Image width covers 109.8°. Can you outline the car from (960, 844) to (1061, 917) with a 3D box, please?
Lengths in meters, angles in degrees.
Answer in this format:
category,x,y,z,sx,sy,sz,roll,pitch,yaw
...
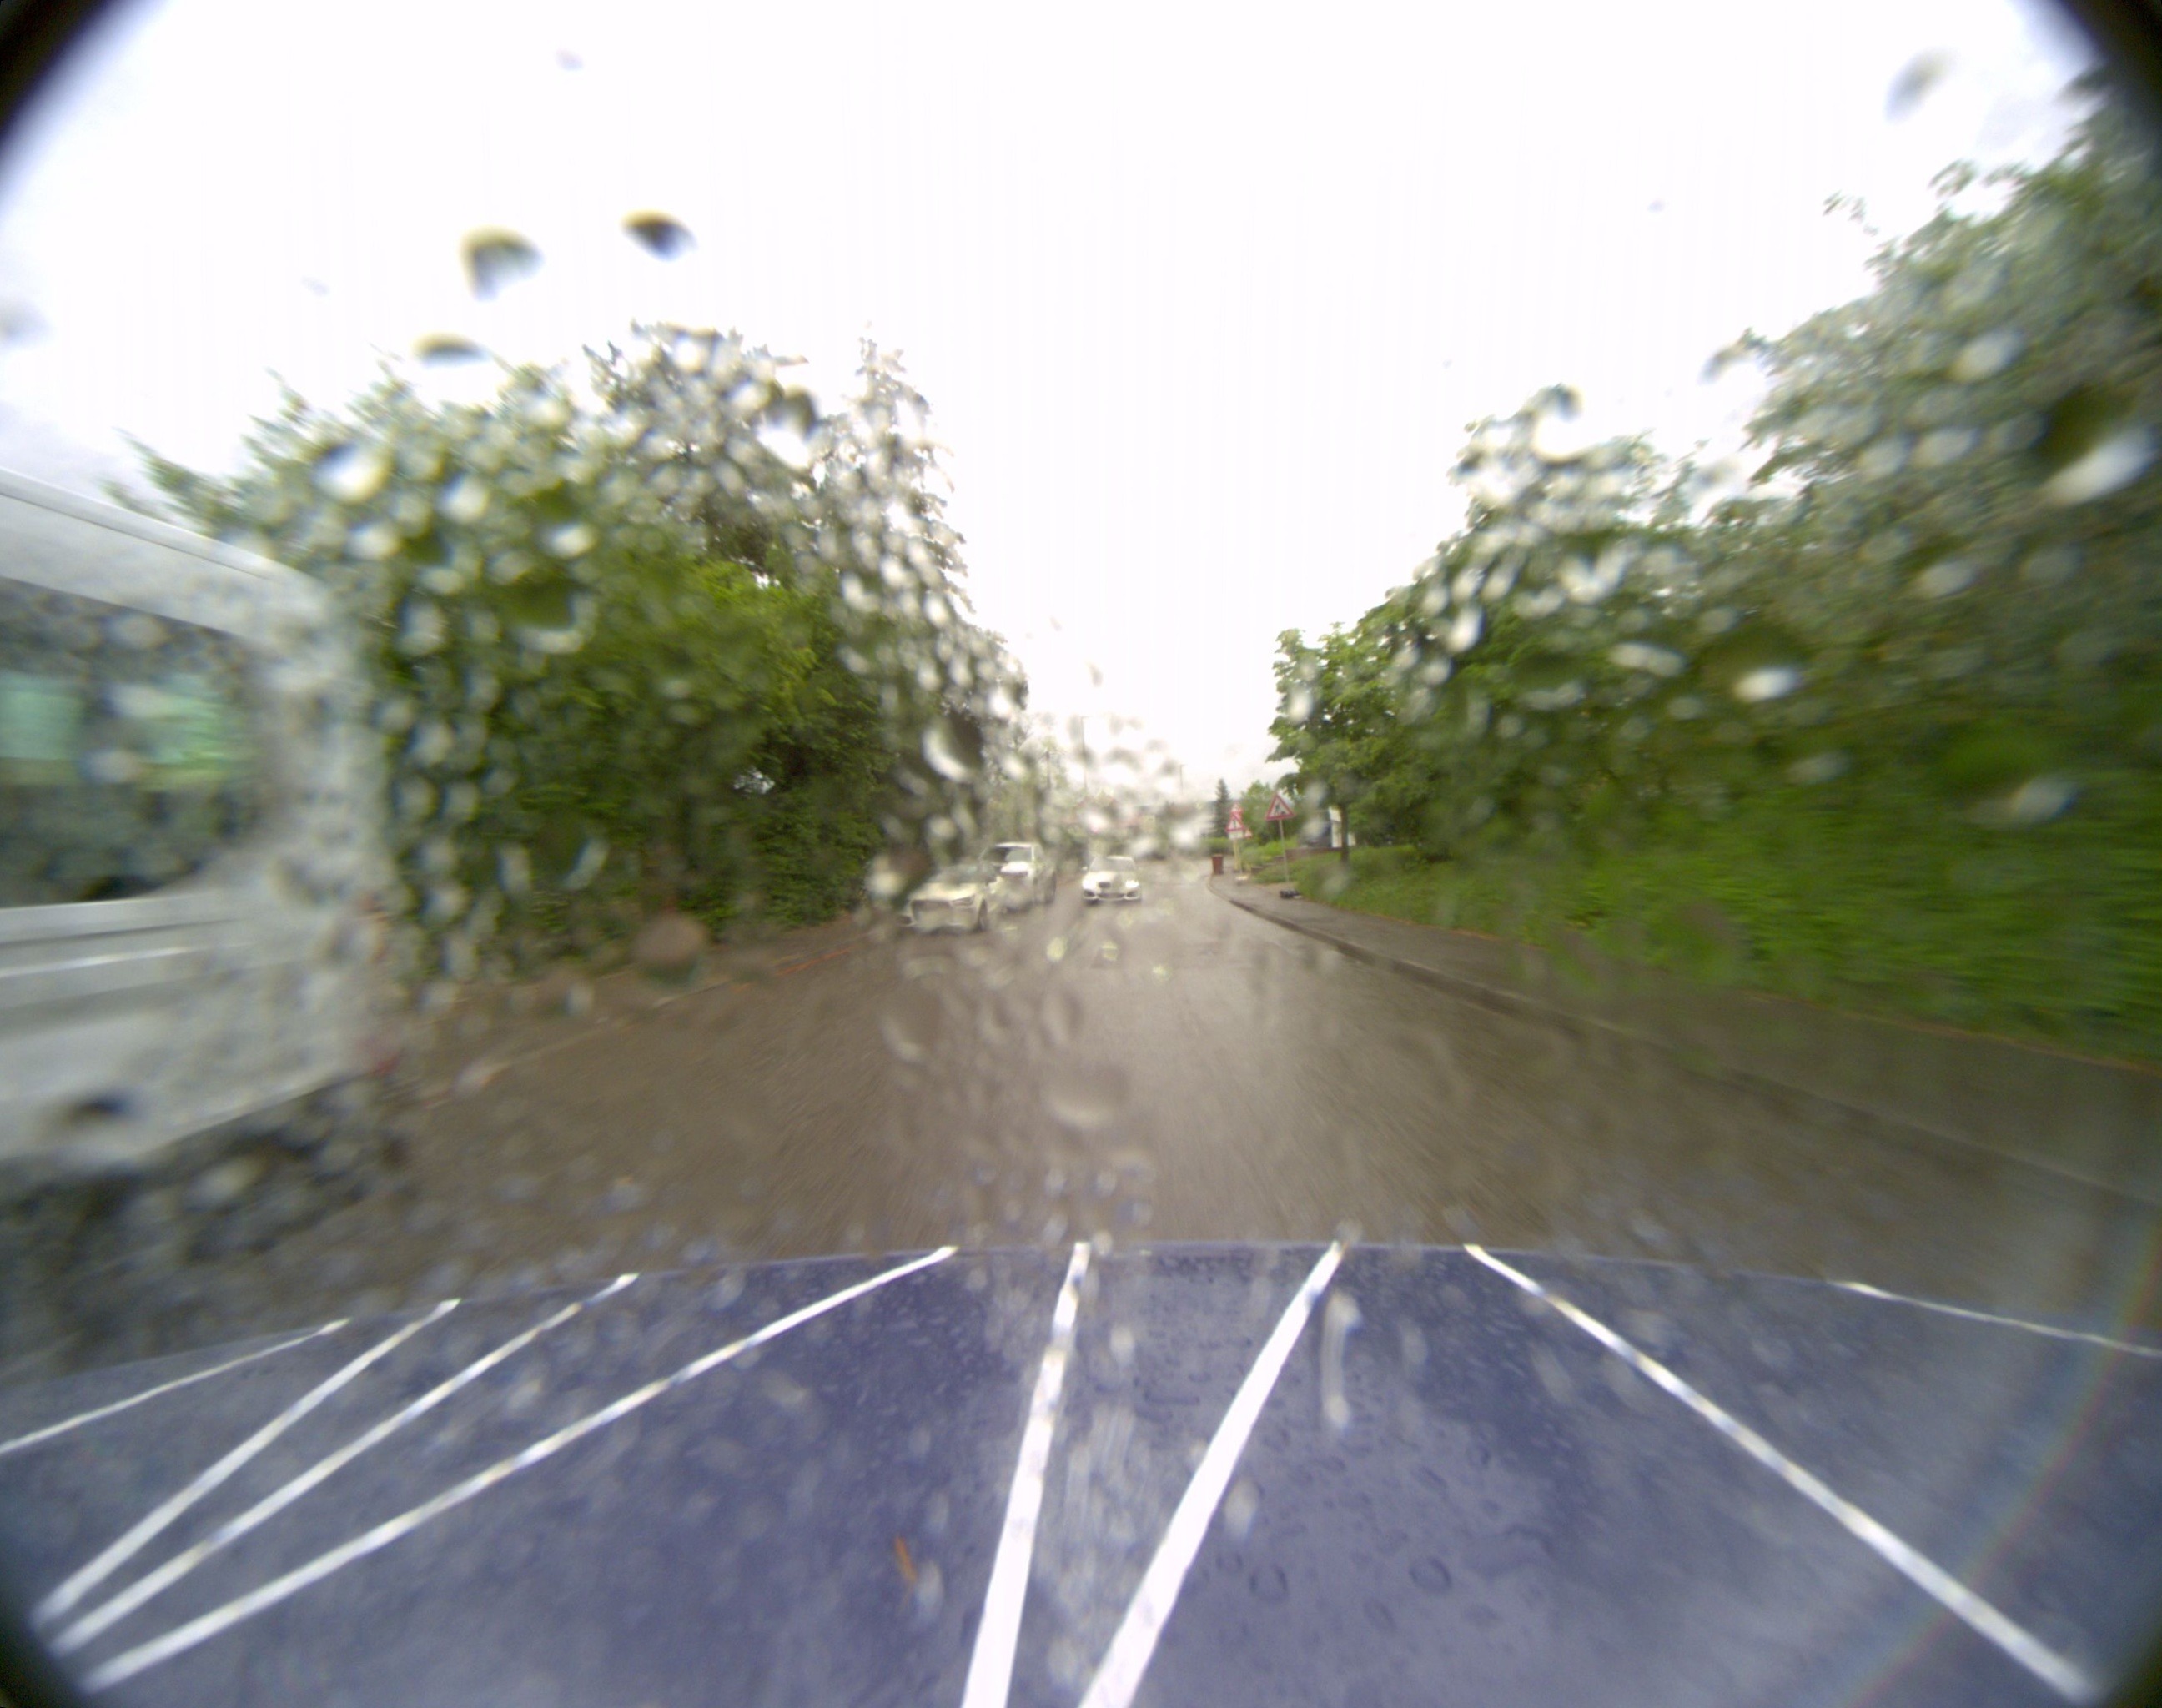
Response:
category,x,y,z,sx,sy,sz,roll,pitch,yaw
car,-1.843,0.636,21.633,1.869,1.808,4.863,-1,1,6

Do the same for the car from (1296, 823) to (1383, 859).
category,x,y,z,sx,sy,sz,roll,pitch,yaw
car,13.971,-0.698,41.160,3.998,1.753,1.963,-2,1,-2

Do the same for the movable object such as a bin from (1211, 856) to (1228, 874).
category,x,y,z,sx,sy,sz,roll,pitch,yaw
movable object such as a bin,7.831,0.615,43.044,0.881,1.024,0.803,-1,1,6

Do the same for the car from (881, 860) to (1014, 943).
category,x,y,z,sx,sy,sz,roll,pitch,yaw
car,-2.644,0.892,16.004,1.753,1.415,4.001,-1,1,5

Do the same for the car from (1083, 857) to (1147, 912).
category,x,y,z,sx,sy,sz,roll,pitch,yaw
car,1.116,0.887,23.677,1.797,1.455,4.001,-1,1,5
